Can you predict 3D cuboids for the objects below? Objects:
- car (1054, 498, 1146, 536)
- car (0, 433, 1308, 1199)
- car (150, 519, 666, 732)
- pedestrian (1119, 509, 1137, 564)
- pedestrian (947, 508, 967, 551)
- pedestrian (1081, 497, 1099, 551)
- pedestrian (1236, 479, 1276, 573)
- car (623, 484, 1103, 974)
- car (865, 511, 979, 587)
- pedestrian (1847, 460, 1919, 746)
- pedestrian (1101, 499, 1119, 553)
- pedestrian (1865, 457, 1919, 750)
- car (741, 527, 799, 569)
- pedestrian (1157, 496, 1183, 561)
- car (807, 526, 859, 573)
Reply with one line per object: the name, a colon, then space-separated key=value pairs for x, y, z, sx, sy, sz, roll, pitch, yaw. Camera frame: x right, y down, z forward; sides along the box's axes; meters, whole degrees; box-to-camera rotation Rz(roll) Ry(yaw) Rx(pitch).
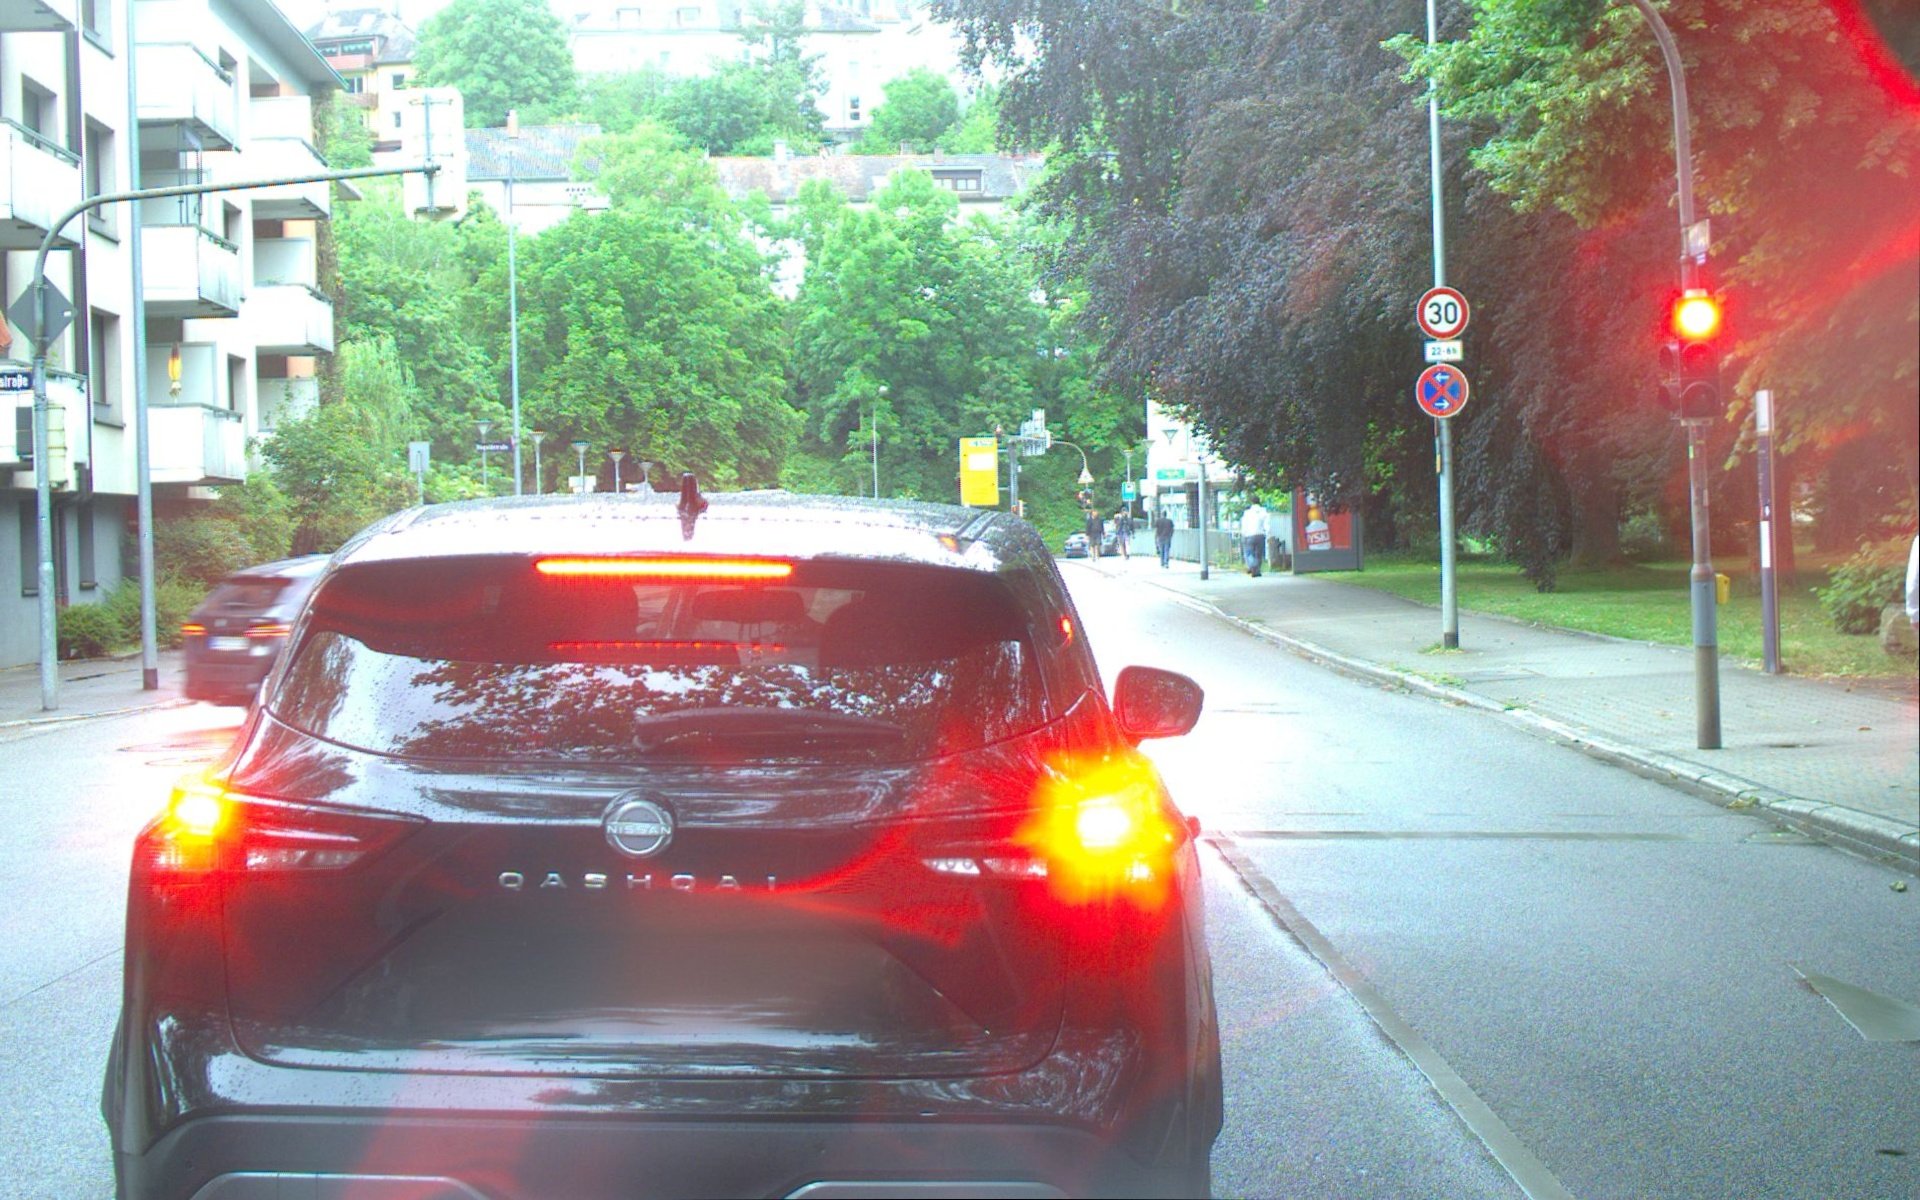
car: x=6.744 y=-3.982 z=165.297 sx=3.987 sy=1.729 sz=2.000 roll=1 pitch=1 yaw=-36
car: x=-0.471 y=0.555 z=7.001 sx=1.913 sy=1.674 sz=4.000 roll=0 pitch=1 yaw=0
car: x=-4.906 y=0.186 z=30.947 sx=4.302 sy=1.672 sz=1.727 roll=-3 pitch=2 yaw=-43
pedestrian: x=5.603 y=-2.119 z=114.665 sx=0.508 sy=1.796 sz=0.619 roll=-2 pitch=1 yaw=-2
pedestrian: x=-0.119 y=-2.764 z=135.084 sx=0.509 sy=1.667 sz=0.658 roll=-2 pitch=1 yaw=27
pedestrian: x=4.361 y=-2.544 z=115.579 sx=0.508 sy=1.796 sz=0.619 roll=-2 pitch=1 yaw=-1
pedestrian: x=6.413 y=-1.612 z=74.611 sx=0.725 sy=2.007 sz=0.851 roll=-2 pitch=1 yaw=0
car: x=-0.376 y=0.435 z=14.440 sx=1.698 sy=1.739 sz=3.641 roll=-2 pitch=1 yaw=-1
car: x=-0.807 y=-1.039 z=69.526 sx=1.825 sy=1.399 sz=4.652 roll=-2 pitch=1 yaw=-6
pedestrian: x=6.645 y=-0.013 z=23.111 sx=1.035 sy=1.869 sz=0.658 roll=-4 pitch=1 yaw=-11
pedestrian: x=5.053 y=-2.479 z=115.799 sx=0.508 sy=1.796 sz=0.659 roll=-2 pitch=1 yaw=2
pedestrian: x=6.473 y=-0.007 z=22.359 sx=0.657 sy=1.869 sz=1.036 roll=-3 pitch=2 yaw=39
car: x=-7.277 y=-2.012 z=131.927 sx=1.970 sy=1.527 sz=3.968 roll=-2 pitch=1 yaw=-1
pedestrian: x=5.853 y=-1.996 z=95.917 sx=0.509 sy=1.796 sz=0.619 roll=-2 pitch=1 yaw=19
car: x=-4.333 y=-1.755 z=117.955 sx=1.634 sy=1.527 sz=3.968 roll=-2 pitch=1 yaw=-1
